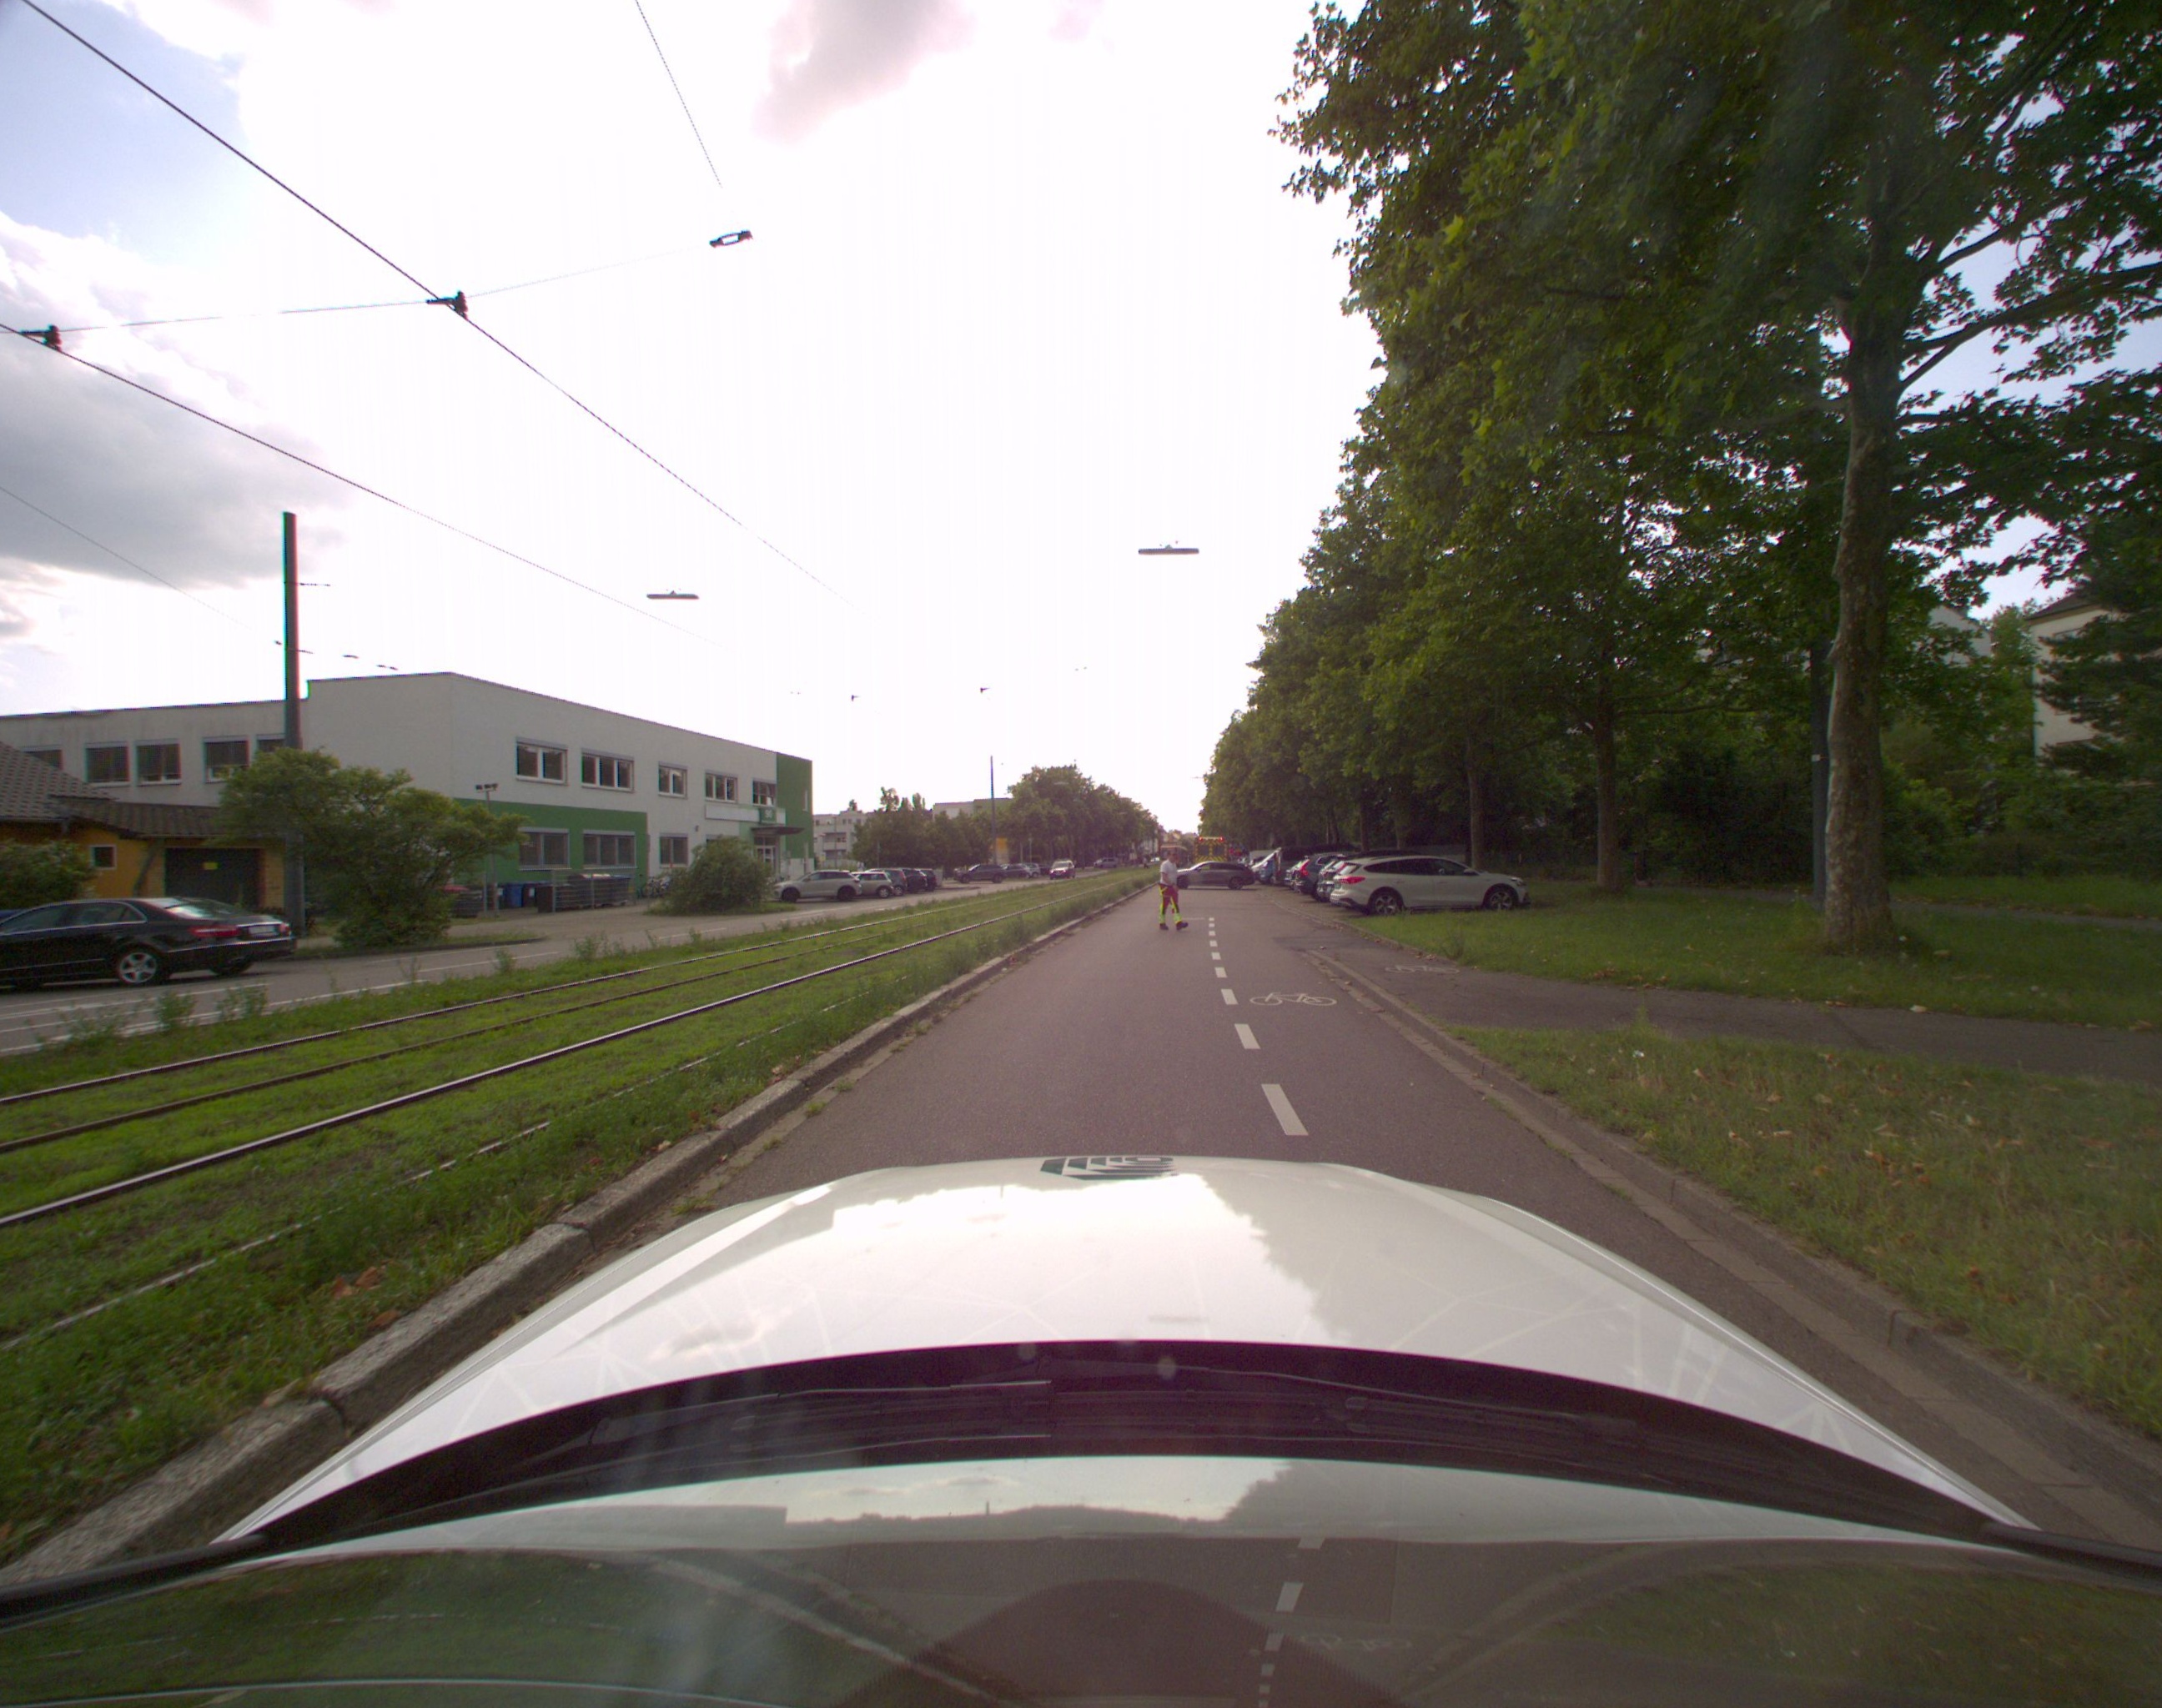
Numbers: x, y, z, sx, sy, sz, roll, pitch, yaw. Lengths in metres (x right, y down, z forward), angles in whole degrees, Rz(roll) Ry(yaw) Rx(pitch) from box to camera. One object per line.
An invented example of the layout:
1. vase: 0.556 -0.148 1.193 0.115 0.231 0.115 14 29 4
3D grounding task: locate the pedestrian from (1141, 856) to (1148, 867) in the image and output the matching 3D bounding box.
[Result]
1. pedestrian: 8.479 0.974 108.189 0.876 1.525 0.752 0 -1 8

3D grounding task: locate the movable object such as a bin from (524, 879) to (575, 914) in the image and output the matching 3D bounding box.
1. movable object such as a bin: -20.231 1.615 31.035 0.999 1.234 1.260 0 1 11

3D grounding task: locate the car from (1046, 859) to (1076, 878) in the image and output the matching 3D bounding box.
1. car: -1.851 1.295 75.412 1.982 1.558 4.380 -3 0 8

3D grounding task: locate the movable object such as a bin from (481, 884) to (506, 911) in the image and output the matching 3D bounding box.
1. movable object such as a bin: -23.249 1.723 32.229 0.565 1.042 0.566 0 0 9

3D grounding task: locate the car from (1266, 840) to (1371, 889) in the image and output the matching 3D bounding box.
1. car: 11.304 0.511 38.996 4.520 2.123 1.860 -3 -1 8

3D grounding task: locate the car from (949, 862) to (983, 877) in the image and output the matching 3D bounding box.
1. car: -14.334 1.934 101.156 3.949 1.750 2.012 0 0 40

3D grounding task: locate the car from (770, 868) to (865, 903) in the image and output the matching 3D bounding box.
1. car: -12.917 1.515 39.935 4.243 1.482 1.867 -2 0 -26

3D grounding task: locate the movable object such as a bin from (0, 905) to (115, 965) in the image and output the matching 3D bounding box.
1. movable object such as a bin: -21.971 1.693 17.174 1.247 1.101 1.621 -2 0 8

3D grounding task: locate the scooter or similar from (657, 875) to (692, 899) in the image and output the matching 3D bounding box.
1. scooter or similar: -19.900 1.612 39.868 1.290 1.156 1.101 -1 -1 38

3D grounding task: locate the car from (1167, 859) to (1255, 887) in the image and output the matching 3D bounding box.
1. car: 6.676 0.979 42.156 4.430 1.385 1.770 0 0 6

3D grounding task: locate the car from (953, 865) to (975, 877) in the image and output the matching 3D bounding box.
1. car: -16.598 2.416 116.140 1.982 1.750 4.010 0 0 9

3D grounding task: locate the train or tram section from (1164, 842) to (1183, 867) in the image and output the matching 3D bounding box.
1. train or tram section: 14.382 0.125 126.727 2.497 3.584 7.462 -3 -1 8

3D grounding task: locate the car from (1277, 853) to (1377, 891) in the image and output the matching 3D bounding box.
1. car: 10.787 0.802 35.938 3.943 1.494 1.760 -3 -1 8

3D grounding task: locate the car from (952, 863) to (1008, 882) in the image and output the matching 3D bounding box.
1. car: -8.208 1.505 66.149 4.230 1.482 1.873 0 -1 -16

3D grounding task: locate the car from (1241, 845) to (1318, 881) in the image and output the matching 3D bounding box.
1. car: 12.739 0.581 52.571 4.524 2.043 1.858 -2 -1 5

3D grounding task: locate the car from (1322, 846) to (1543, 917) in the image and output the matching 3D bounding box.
1. car: 8.538 0.659 20.125 4.636 1.473 1.850 -3 0 5

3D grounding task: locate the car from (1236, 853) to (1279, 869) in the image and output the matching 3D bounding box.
1. car: 19.888 0.824 92.086 4.524 1.608 1.858 -2 -1 5

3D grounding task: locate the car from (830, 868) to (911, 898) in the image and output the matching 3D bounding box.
1. car: -11.869 1.605 45.842 4.236 1.482 1.870 -2 0 -21

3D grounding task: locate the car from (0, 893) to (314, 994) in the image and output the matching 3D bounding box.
1. car: -16.232 1.461 13.603 4.638 1.407 1.876 -2 -2 -11

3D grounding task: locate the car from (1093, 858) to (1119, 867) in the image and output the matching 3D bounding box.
1. car: 4.806 1.647 154.221 4.642 1.633 1.865 -1 -1 -30

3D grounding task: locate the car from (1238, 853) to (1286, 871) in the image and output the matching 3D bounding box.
1. car: 18.292 0.774 82.340 4.524 1.608 1.858 -2 -1 5

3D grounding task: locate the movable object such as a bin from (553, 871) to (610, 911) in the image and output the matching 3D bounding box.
1. movable object such as a bin: -19.939 1.460 32.549 0.999 1.519 1.717 0 1 11

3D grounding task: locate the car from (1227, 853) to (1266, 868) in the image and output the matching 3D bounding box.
1. car: 20.337 0.838 100.366 4.524 1.608 1.858 -2 -1 5

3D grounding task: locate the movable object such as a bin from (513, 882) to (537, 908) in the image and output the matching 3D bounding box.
1. movable object such as a bin: -22.973 1.687 33.639 0.565 1.042 0.566 0 0 9

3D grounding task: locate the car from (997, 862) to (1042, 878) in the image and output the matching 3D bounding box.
1. car: -6.201 1.592 82.134 4.244 1.482 1.867 0 -1 -27

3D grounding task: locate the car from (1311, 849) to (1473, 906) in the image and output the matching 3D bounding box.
1. car: 9.387 0.697 24.905 4.353 1.501 1.761 -3 0 10

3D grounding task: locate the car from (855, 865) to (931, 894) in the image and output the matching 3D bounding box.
1. car: -11.288 1.502 48.805 4.236 1.482 1.870 -2 0 -21

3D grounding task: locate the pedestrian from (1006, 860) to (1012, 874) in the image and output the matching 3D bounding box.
1. pedestrian: -8.642 1.598 97.826 0.463 1.677 0.604 -2 -1 7

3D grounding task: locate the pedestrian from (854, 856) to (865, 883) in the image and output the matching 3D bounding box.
1. pedestrian: -15.404 1.084 56.546 0.543 1.828 0.510 -2 -1 7

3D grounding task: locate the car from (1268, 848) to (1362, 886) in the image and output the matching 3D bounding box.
1. car: 12.243 0.688 42.848 4.520 1.766 1.860 -3 -1 8

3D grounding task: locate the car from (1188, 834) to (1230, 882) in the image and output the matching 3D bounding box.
1. car: 8.754 0.274 55.225 2.625 2.966 6.317 1 0 10

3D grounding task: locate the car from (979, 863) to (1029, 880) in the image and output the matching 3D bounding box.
1. car: -7.217 1.607 76.276 4.244 1.482 1.867 0 -1 -27

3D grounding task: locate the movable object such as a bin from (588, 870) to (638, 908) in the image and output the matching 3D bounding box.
1. movable object such as a bin: -19.628 1.460 34.223 0.999 1.519 1.609 0 1 11

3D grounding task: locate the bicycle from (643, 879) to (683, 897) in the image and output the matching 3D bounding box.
1. bicycle: -21.253 1.727 41.423 1.847 0.899 0.460 0 -1 9

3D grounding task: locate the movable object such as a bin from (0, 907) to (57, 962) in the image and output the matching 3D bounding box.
1. movable object such as a bin: -23.424 1.741 17.309 1.247 1.092 1.621 -2 0 8

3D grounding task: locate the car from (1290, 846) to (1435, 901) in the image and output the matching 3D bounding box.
1. car: 9.384 0.660 27.480 4.353 1.639 1.761 -3 -1 10

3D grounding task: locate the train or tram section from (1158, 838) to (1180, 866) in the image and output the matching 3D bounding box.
1. train or tram section: 12.143 -0.144 111.985 2.497 3.584 7.462 -3 -1 8

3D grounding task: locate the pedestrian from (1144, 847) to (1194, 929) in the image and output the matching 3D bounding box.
1. pedestrian: 1.863 0.716 17.369 0.804 1.686 0.847 -1 -1 -14

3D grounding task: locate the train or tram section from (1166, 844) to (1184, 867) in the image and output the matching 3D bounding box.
1. train or tram section: 15.510 0.258 134.076 2.497 3.584 7.462 -3 -1 8

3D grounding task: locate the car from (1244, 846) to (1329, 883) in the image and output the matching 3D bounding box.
1. car: 12.070 0.620 48.014 4.524 2.001 1.858 -2 -1 5

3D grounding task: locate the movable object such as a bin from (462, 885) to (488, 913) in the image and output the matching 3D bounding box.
1. movable object such as a bin: -23.402 1.718 31.474 0.565 1.042 0.566 0 0 9

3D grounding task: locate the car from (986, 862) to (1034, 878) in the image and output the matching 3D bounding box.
1. car: -6.916 1.561 79.169 4.244 1.482 1.867 0 -1 -27

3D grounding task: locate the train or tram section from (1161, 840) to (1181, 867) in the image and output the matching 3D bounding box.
1. train or tram section: 13.258 -0.010 119.350 2.497 3.584 7.462 -3 -1 8

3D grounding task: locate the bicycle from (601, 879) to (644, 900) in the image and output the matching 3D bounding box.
1. bicycle: -21.633 1.673 38.420 1.847 0.986 0.460 0 -1 9

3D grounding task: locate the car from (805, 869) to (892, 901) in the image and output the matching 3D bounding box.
1. car: -12.266 1.590 42.926 4.236 1.482 1.870 -2 0 -21

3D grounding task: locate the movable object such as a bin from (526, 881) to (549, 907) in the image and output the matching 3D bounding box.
1. movable object such as a bin: -22.868 1.680 34.296 0.565 1.042 0.566 0 0 9

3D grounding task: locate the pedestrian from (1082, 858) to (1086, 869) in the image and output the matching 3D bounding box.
1. pedestrian: 0.452 1.454 124.095 0.419 1.730 0.468 -2 -1 4

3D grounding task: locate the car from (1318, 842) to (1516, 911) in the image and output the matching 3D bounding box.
1. car: 9.076 0.593 22.311 4.636 1.626 1.850 -3 0 5

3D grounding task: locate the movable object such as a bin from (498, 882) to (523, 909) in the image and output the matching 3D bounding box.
1. movable object such as a bin: -23.107 1.675 32.996 0.565 1.042 0.566 0 0 9

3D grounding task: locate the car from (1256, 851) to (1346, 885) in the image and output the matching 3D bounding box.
1. car: 12.198 0.786 45.422 4.525 1.660 1.858 -2 -1 4

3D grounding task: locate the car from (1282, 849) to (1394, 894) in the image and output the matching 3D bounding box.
1. car: 10.382 0.703 33.083 3.955 1.605 1.755 -2 -1 -2

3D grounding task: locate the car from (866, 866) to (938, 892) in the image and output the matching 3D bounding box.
1. car: -11.411 1.563 51.917 4.236 1.482 1.870 -2 0 -21

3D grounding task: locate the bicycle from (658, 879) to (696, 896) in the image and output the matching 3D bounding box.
1. bicycle: -21.097 1.748 42.560 1.847 0.899 0.460 0 -1 9

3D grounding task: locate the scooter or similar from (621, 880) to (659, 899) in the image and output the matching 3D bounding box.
1. scooter or similar: -21.621 1.737 39.931 1.725 0.899 0.460 0 -1 9
